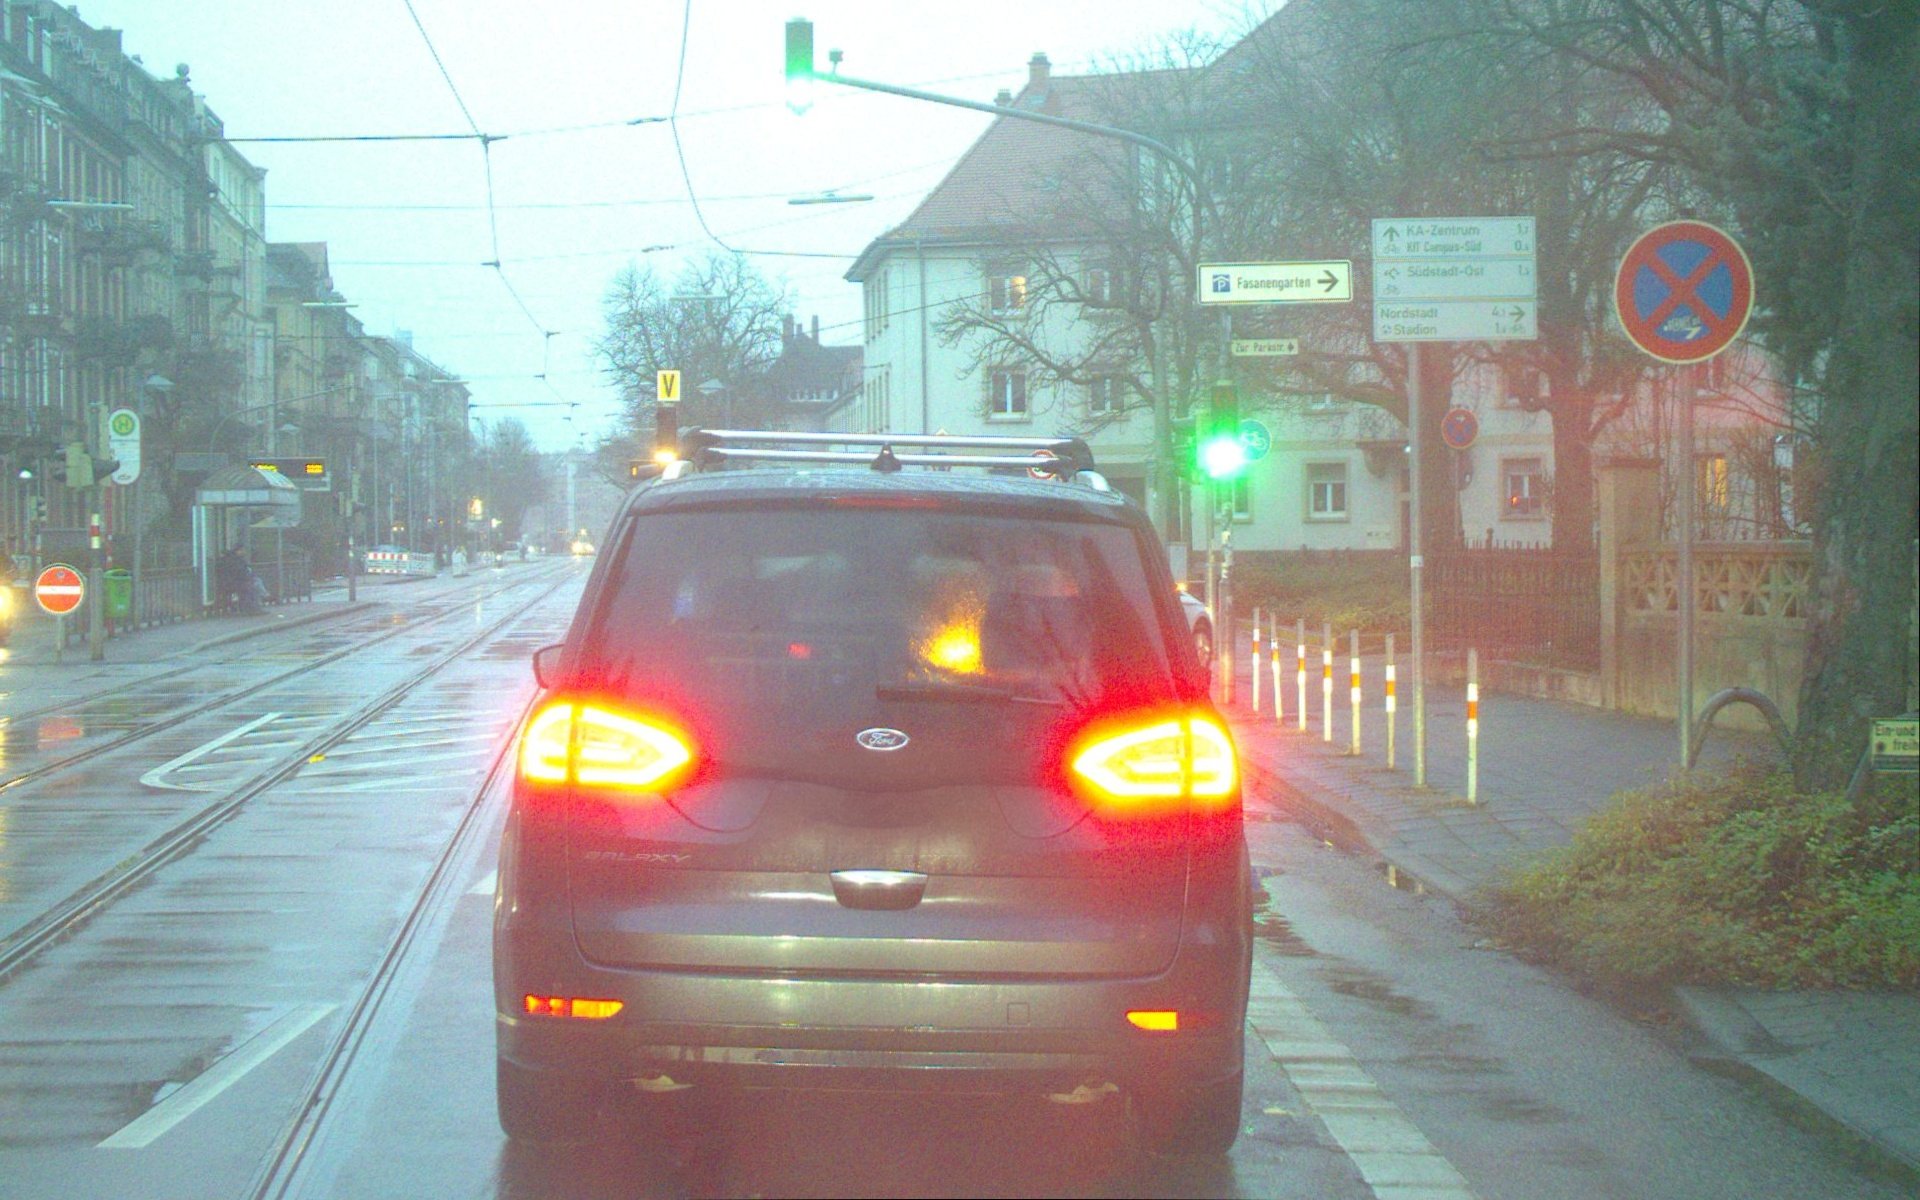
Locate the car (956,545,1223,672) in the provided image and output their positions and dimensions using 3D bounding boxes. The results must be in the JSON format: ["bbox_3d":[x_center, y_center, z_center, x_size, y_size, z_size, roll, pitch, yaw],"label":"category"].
[{"bbox_3d":[1.577,0.066,40.241,1.667,1.371,3.995,0,1,26],"label":"car"}]

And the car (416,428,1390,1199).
[{"bbox_3d":[-0.248,0.505,9.866,2.103,1.810,4.661,1,1,-3],"label":"car"}]

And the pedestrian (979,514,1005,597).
[{"bbox_3d":[0.777,-1.082,83.476,0.596,2.007,0.631,0,0,-1],"label":"pedestrian"}]

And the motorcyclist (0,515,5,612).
[{"bbox_3d":[-15.673,-0.579,54.830,0.843,1.543,1.015,-1,1,-15],"label":"motorcyclist"}]

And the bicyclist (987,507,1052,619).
[{"bbox_3d":[0.900,-0.573,52.369,0.716,1.657,1.057,3,1,-9],"label":"bicyclist"}]

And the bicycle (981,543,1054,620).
[{"bbox_3d":[0.866,-0.295,52.465,0.716,1.108,1.942,3,1,-9],"label":"bicycle"}]

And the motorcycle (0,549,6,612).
[{"bbox_3d":[-15.648,-0.313,54.736,0.855,0.988,1.919,-1,1,-15],"label":"motorcycle"}]

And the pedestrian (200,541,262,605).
[{"bbox_3d":[-13.830,-0.516,65.229,1.047,1.196,0.885,0,0,-4],"label":"pedestrian"}]
